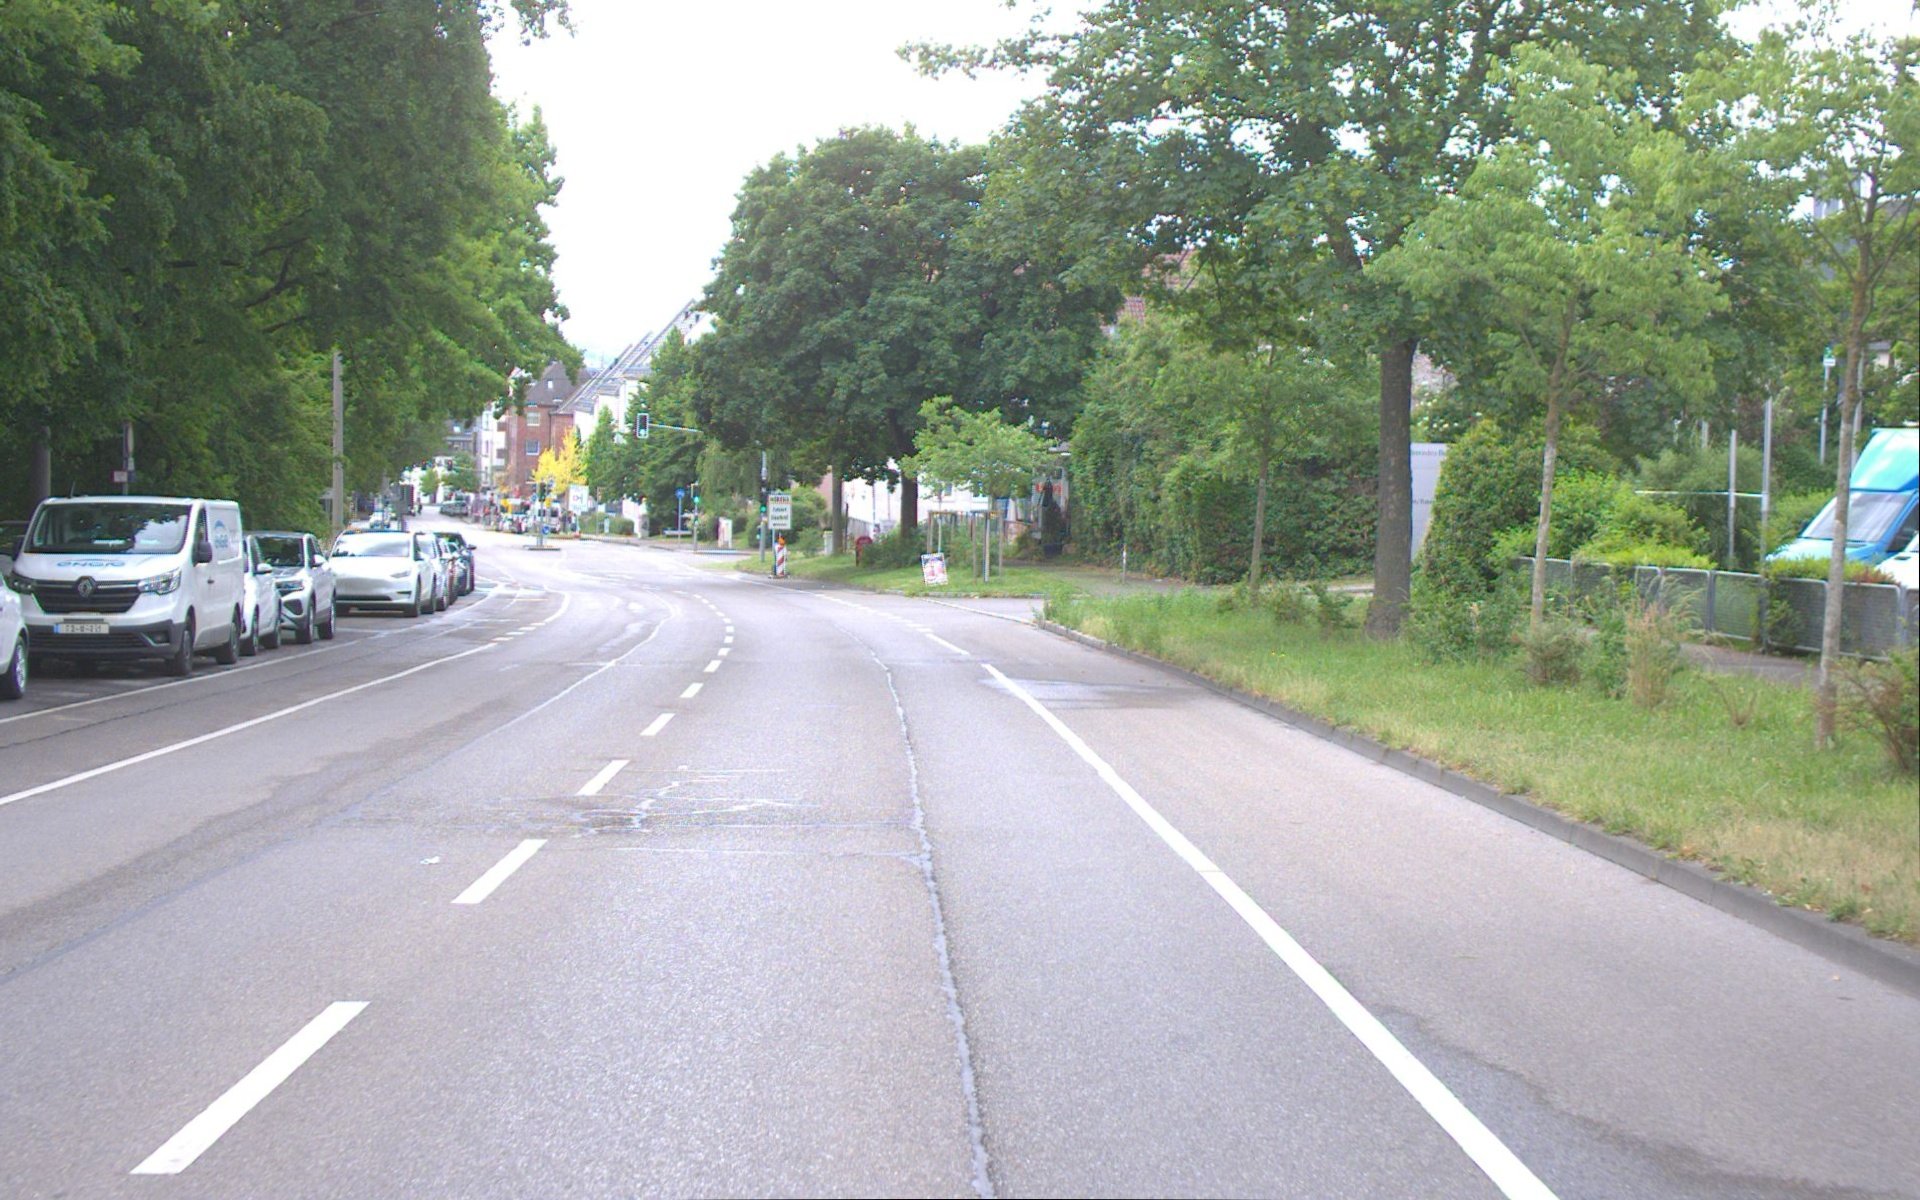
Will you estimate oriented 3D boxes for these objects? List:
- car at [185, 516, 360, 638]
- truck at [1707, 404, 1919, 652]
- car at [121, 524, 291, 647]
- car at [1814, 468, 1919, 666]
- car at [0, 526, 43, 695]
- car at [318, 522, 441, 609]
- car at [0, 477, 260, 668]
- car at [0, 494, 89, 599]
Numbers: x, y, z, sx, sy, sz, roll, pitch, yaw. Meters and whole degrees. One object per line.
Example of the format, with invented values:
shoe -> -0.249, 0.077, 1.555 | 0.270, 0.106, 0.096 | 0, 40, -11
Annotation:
car -> -9.692, -0.359, 48.753 | 1.766, 1.628, 4.158 | 1, 1, -2
truck -> 14.784, -1.034, 50.738 | 7.162, 3.465, 2.620 | 0, 2, -25
car -> -9.569, -0.217, 43.848 | 1.581, 1.476, 3.720 | 1, 1, -4
car -> 13.860, -0.345, 42.803 | 6.009, 2.359, 2.363 | 2, 1, -25
car -> -9.181, 0.087, 29.652 | 1.662, 1.474, 4.091 | 1, 1, -4
car -> -10.943, -0.662, 65.091 | 1.767, 1.567, 4.760 | 0, 1, -3
car -> -9.152, -0.338, 38.235 | 1.866, 1.957, 5.127 | 1, 1, -2
car -> -15.580, -0.967, 51.791 | 4.431, 1.445, 1.869 | 5, 1, -6
